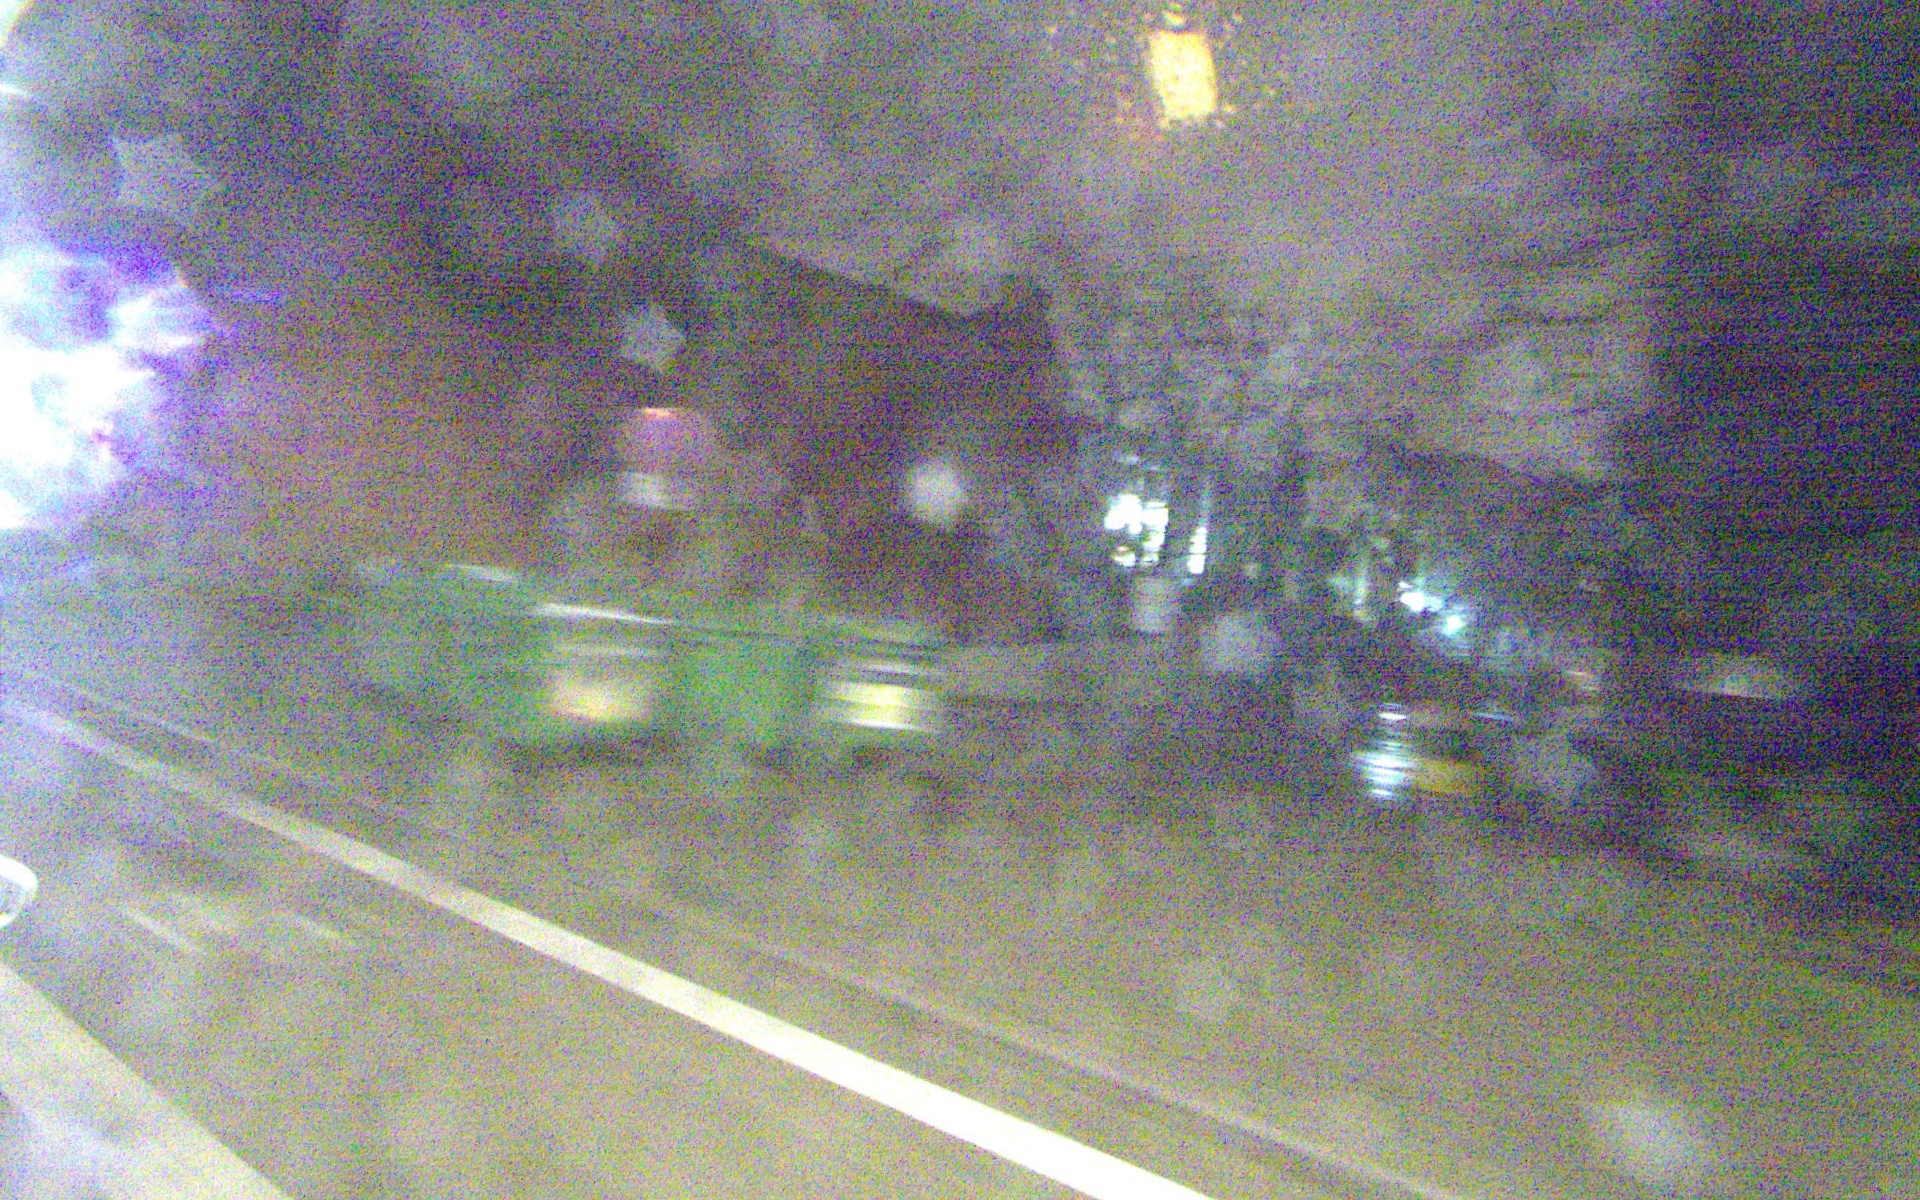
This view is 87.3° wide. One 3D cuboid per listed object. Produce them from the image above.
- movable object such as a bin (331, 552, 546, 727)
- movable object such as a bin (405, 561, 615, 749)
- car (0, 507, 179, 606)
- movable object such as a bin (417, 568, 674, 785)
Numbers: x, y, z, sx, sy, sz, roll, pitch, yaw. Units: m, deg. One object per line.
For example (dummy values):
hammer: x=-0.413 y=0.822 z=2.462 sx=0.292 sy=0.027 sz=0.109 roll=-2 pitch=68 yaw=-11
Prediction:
movable object such as a bin: x=-4.844 y=0.368 z=9.387 sx=1.056 sy=1.440 sz=1.368 roll=6 pitch=0 yaw=37
movable object such as a bin: x=-3.919 y=0.464 z=8.794 sx=1.084 sy=1.440 sz=1.207 roll=6 pitch=0 yaw=37
car: x=-17.399 y=-0.874 z=18.844 sx=1.923 sy=1.555 sz=4.111 roll=7 pitch=-2 yaw=6
movable object such as a bin: x=-3.179 y=0.561 z=7.824 sx=1.139 sy=1.426 sz=1.325 roll=6 pitch=0 yaw=26
